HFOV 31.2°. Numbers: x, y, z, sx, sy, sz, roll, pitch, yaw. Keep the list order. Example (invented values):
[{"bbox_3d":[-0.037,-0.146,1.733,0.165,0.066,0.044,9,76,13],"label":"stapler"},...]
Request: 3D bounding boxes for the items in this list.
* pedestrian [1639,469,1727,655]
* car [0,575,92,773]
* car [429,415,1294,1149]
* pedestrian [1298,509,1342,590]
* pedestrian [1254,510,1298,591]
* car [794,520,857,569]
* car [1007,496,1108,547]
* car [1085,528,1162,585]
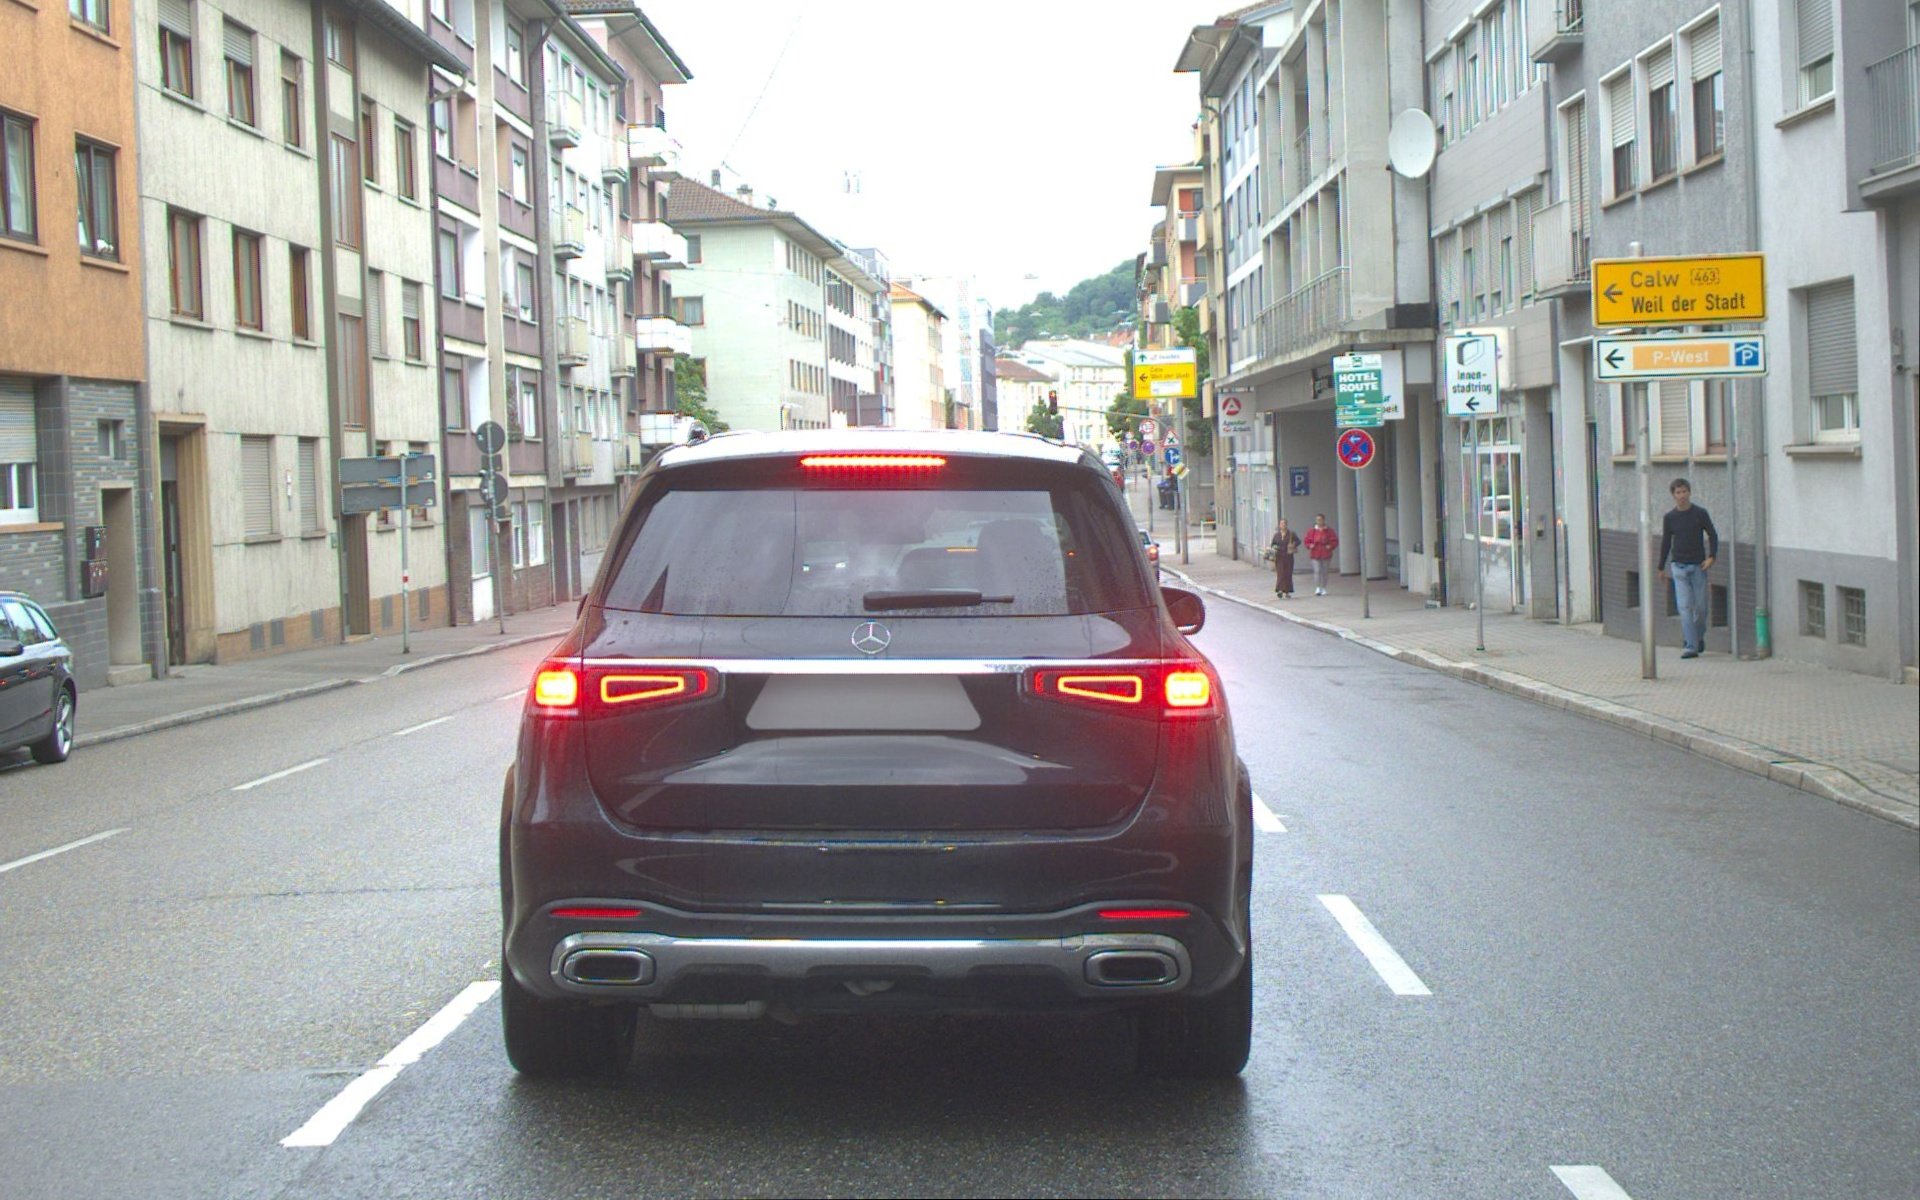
[{"bbox_3d":[7.021,-0.372,33.393,0.655,1.746,0.741,-4,1,6],"label":"pedestrian"},{"bbox_3d":[-8.376,0.592,27.278,1.891,1.453,4.550,-1,2,-1],"label":"car"},{"bbox_3d":[-0.255,0.361,10.617,2.076,1.759,4.611,0,2,0],"label":"car"},{"bbox_3d":[7.031,-0.992,67.176,0.821,1.560,0.899,0,2,4],"label":"pedestrian"},{"bbox_3d":[6.171,-0.968,67.228,0.821,1.560,0.899,0,2,4],"label":"pedestrian"},{"bbox_3d":[-4.223,-1.777,108.722,1.891,1.453,4.550,-1,2,-1],"label":"car"},{"bbox_3d":[3.925,-3.171,138.146,3.987,2.006,2.000,0,2,4],"label":"car"},{"bbox_3d":[4.188,-1.145,88.570,1.734,1.383,4.583,0,2,0],"label":"car"}]
